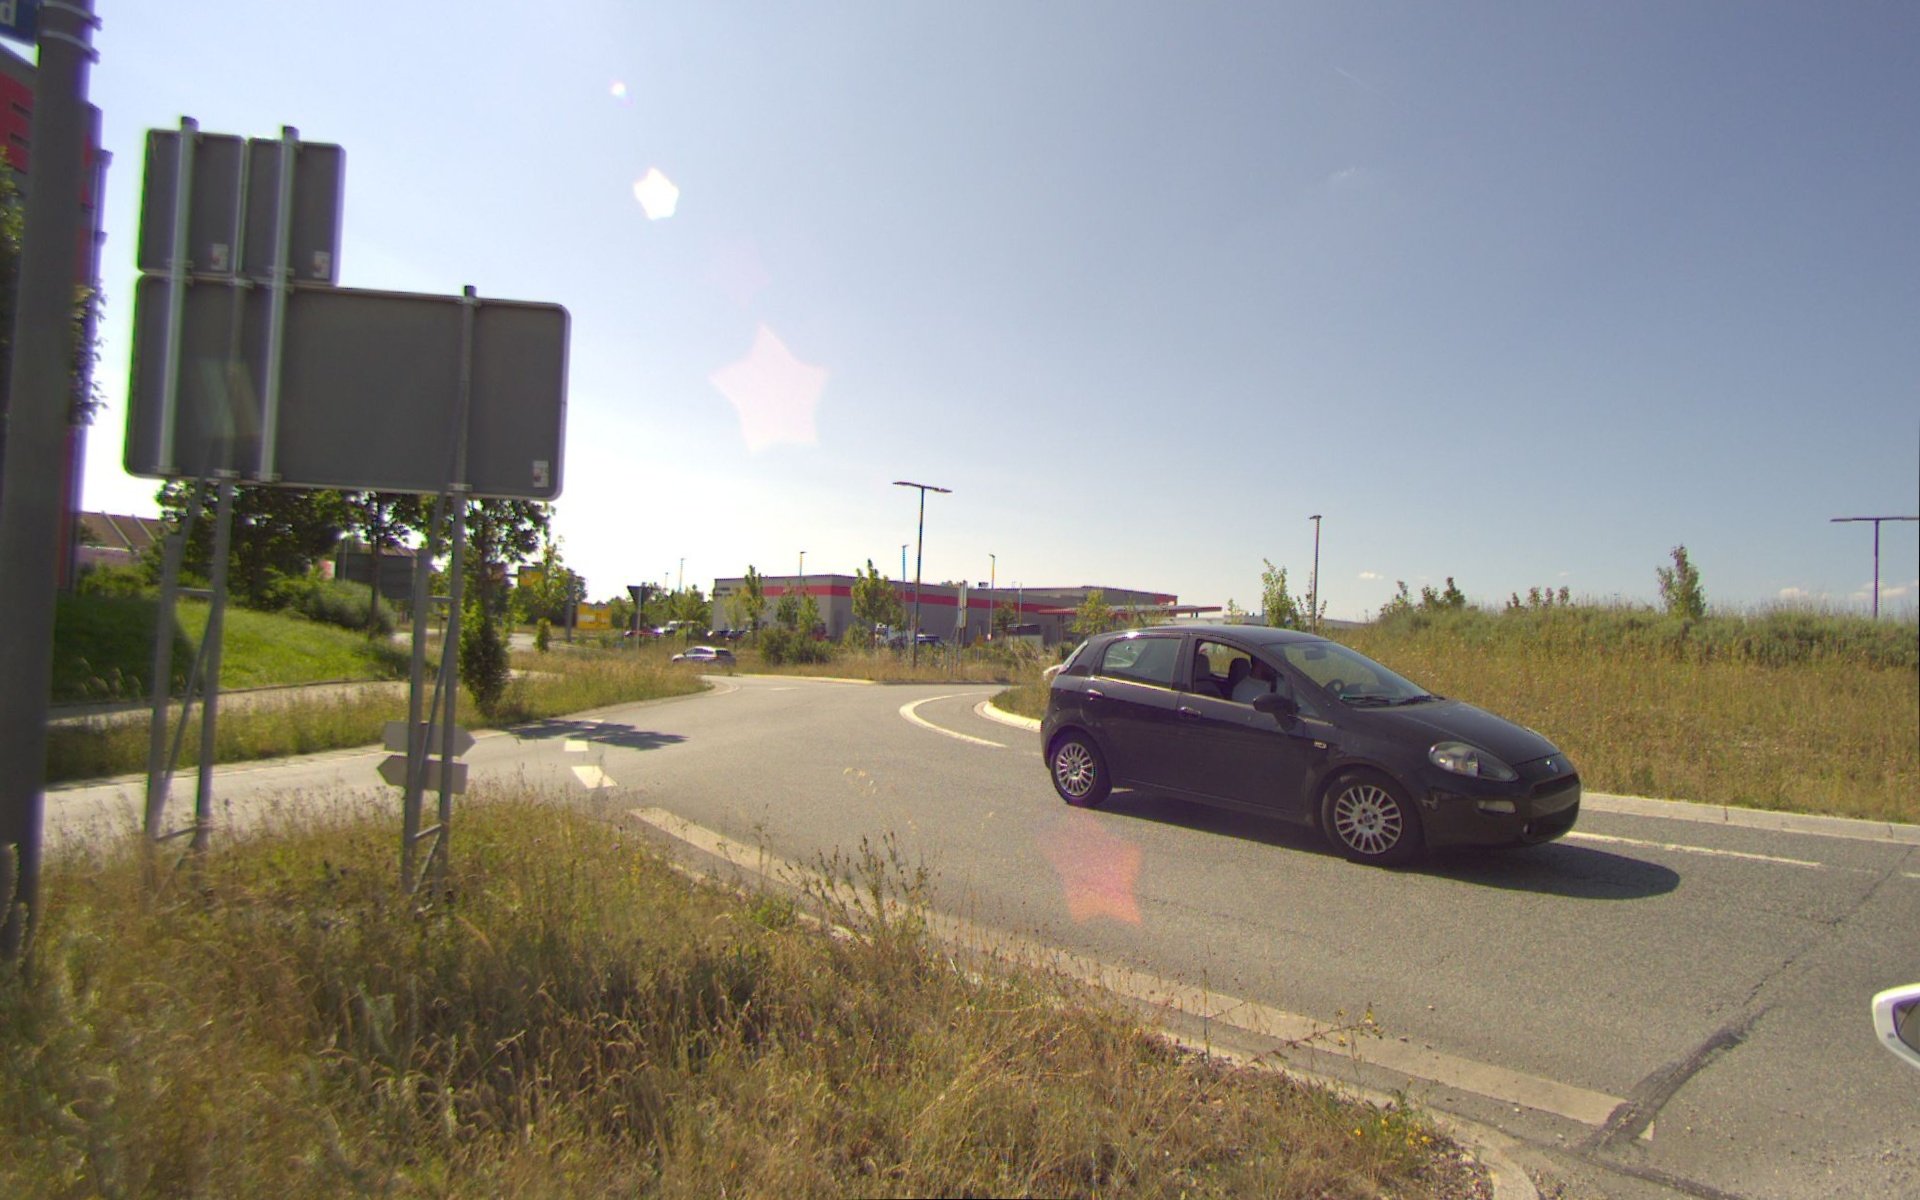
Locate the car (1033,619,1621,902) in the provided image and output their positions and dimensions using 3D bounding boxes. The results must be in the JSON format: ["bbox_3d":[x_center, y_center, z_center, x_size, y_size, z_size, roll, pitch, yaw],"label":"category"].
[{"bbox_3d":[2.462,0.931,7.523,1.631,1.507,3.860,2,-2,-39],"label":"car"}]

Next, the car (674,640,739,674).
[{"bbox_3d":[-14.875,3.334,58.894,3.706,1.795,1.687,0,-3,35],"label":"car"}]

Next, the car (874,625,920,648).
[{"bbox_3d":[-5.856,3.418,93.763,1.973,2.040,3.975,0,-3,45],"label":"car"}]

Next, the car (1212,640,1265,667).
[{"bbox_3d":[23.460,4.528,84.440,5.103,2.040,1.974,5,-3,-44],"label":"car"}]
